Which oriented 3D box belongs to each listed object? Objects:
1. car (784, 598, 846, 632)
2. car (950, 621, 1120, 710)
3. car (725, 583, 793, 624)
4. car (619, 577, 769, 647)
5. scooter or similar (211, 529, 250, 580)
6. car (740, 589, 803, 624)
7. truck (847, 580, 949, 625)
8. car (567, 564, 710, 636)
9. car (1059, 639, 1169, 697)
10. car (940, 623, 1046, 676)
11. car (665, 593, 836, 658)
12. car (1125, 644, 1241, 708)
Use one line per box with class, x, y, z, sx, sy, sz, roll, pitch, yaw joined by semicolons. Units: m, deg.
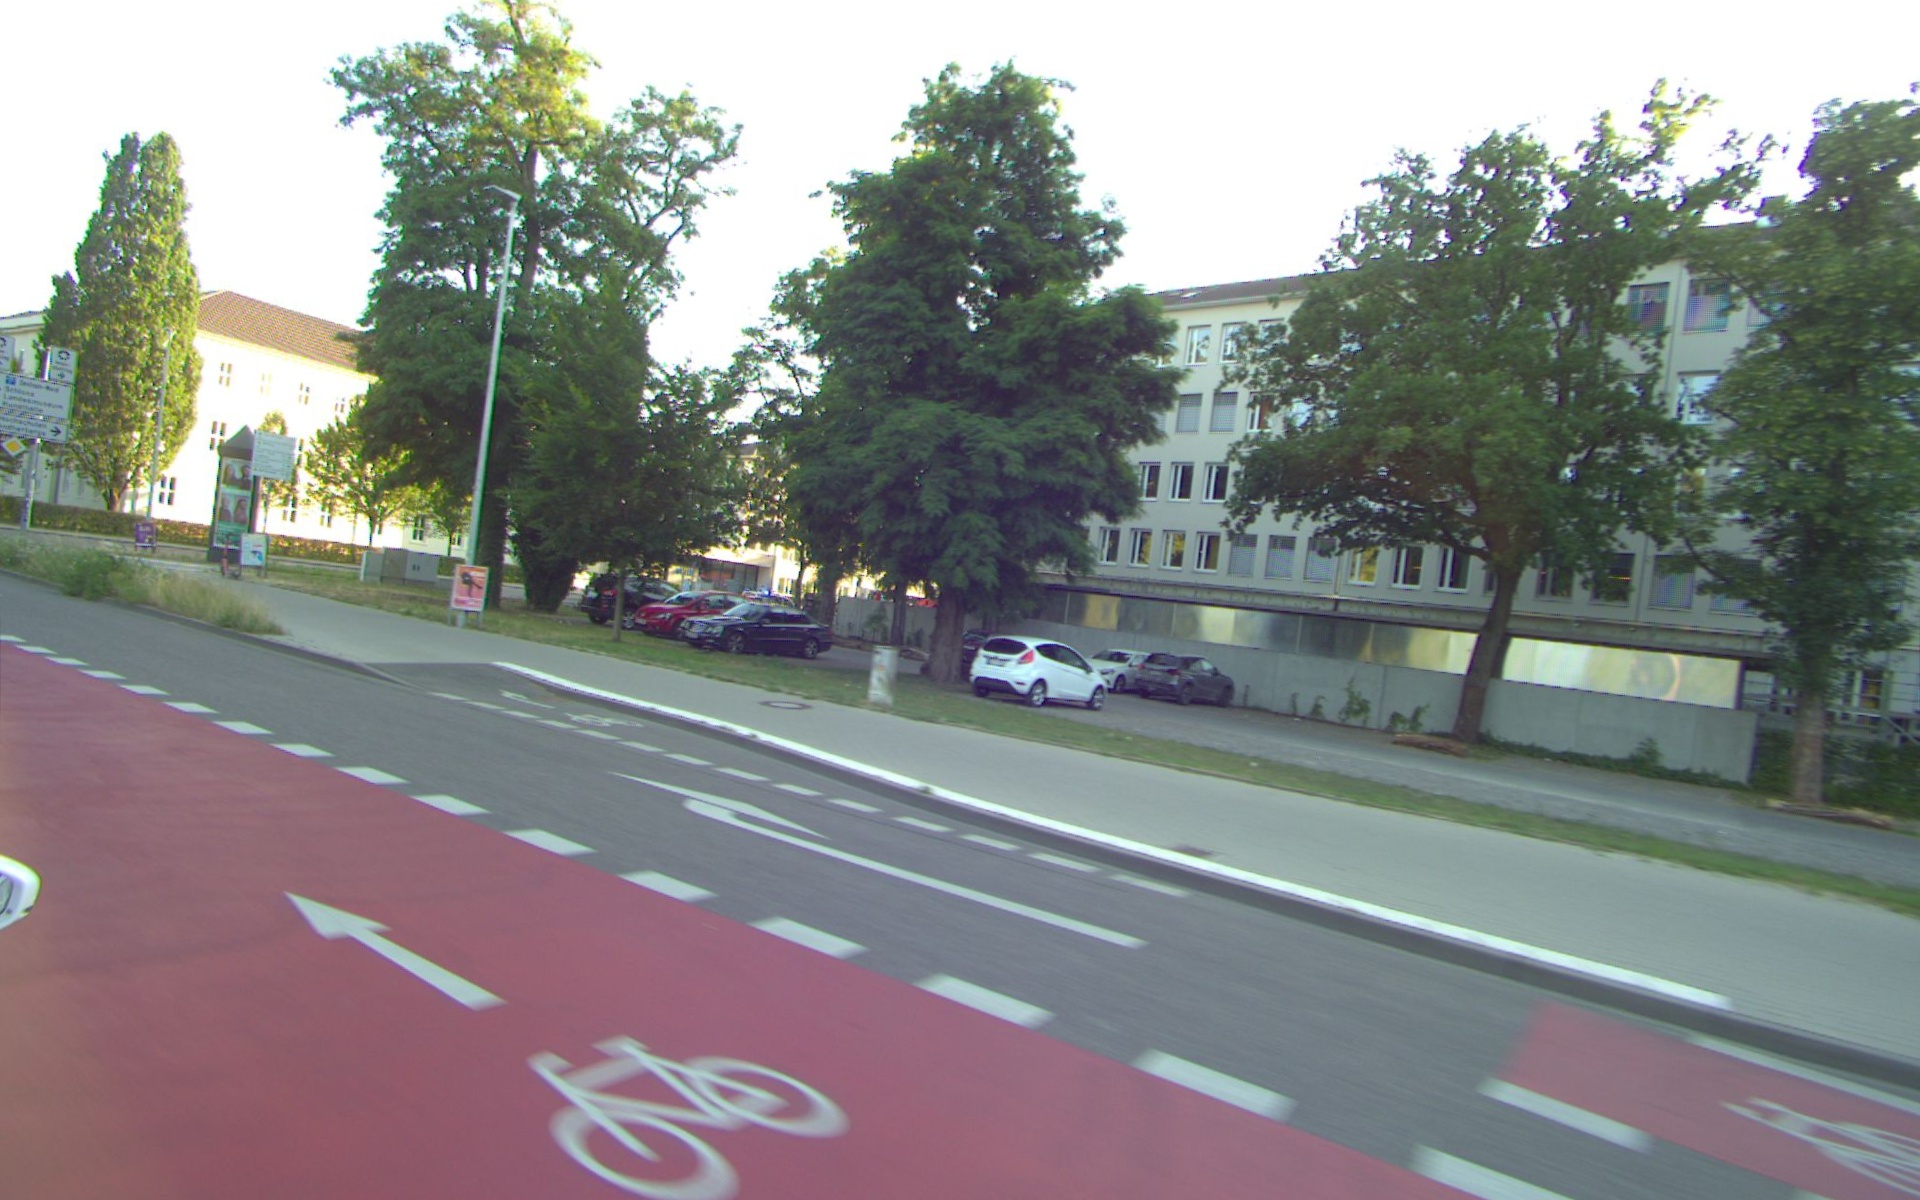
car;-9.971;1.076;69.316;1.721;1.781;3.990;7;-2;37
car;1.796;1.531;22.829;1.882;1.555;3.990;7;-2;36
car;-13.067;0.243;65.495;1.714;2.036;3.989;7;-2;38
car;-7.956;0.392;30.335;1.760;1.579;3.985;7;-1;40
scooter or similar;-19.787;-1.243;27.276;1.290;1.246;0.311;7;0;33
car;-12.975;0.461;69.420;1.721;1.781;3.990;7;-2;37
truck;-4.845;0.256;81.574;2.328;2.313;10.052;7;-2;35
car;-10.238;0.026;32.256;1.809;1.713;3.900;7;-2;37
car;5.312;2.342;34.368;1.807;1.492;3.986;7;-2;40
car;1.298;1.884;37.884;1.874;1.458;3.988;7;-2;38
car;-5.746;0.752;28.147;1.871;1.466;4.568;5;-1;35
car;7.389;2.541;33.114;1.887;1.635;3.984;6;-3;42
